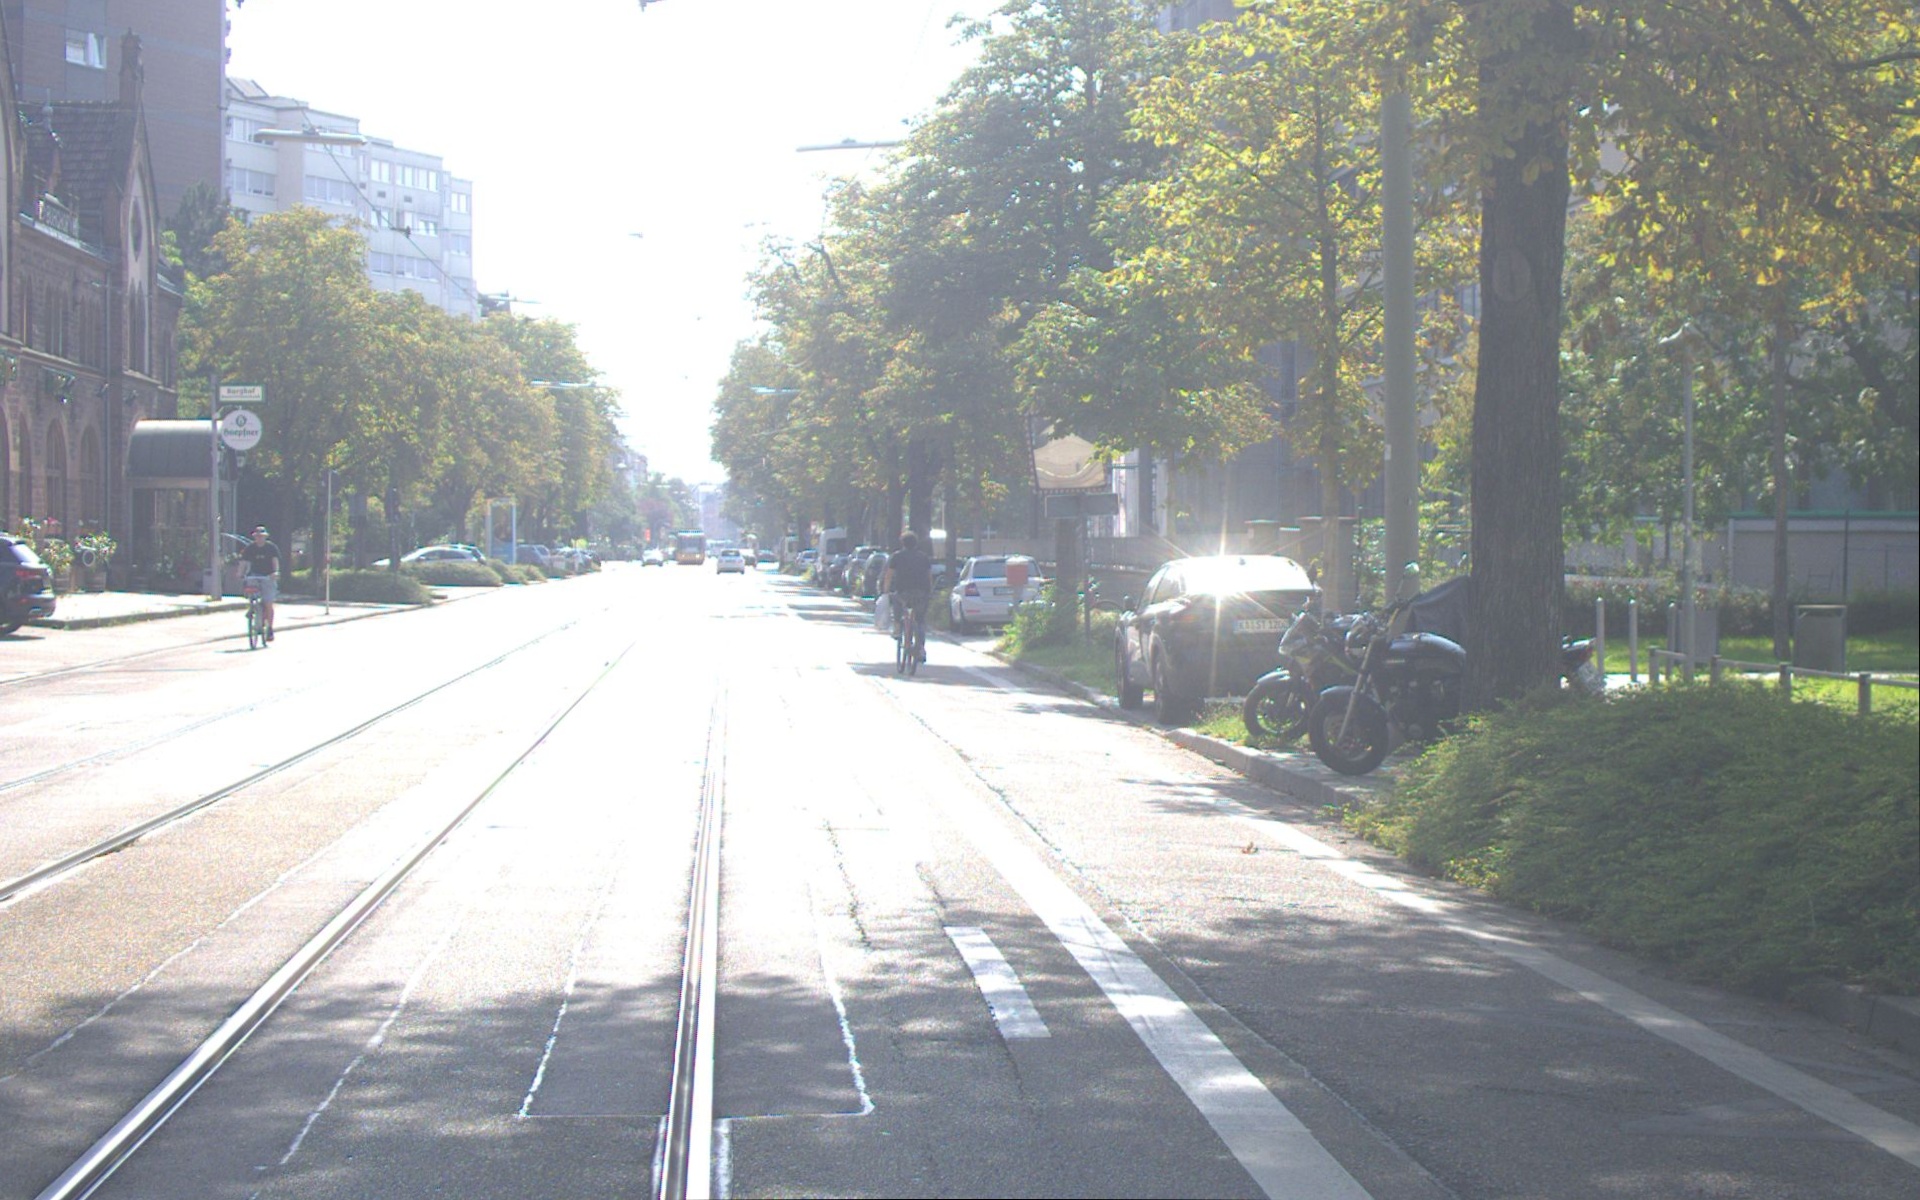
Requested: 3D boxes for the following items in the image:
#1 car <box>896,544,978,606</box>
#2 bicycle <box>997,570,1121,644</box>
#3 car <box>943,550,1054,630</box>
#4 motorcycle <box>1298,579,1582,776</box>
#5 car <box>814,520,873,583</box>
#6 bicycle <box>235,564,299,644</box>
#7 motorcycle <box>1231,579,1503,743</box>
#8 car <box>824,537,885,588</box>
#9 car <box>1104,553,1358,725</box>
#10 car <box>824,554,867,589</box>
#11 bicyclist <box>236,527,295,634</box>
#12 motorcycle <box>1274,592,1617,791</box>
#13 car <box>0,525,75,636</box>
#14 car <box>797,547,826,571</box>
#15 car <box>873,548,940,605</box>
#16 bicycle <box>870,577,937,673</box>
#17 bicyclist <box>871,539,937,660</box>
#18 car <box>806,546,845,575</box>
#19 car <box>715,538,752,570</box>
[{"bbox_3d":[-0.573,-0.624,82.623,1.646,1.423,4.086,-1,1,-5],"label":"car"},{"bbox_3d":[1.485,0.096,51.862,1.768,1.060,0.796,-2,1,-5],"label":"bicycle"},{"bbox_3d":[0.690,-0.207,64.135,1.640,1.425,3.990,-1,1,-5],"label":"car"},{"bbox_3d":[3.397,0.528,24.531,0.842,1.322,2.067,-2,1,-32],"label":"motorcycle"},{"bbox_3d":[-5.046,-2.089,148.401,2.082,2.544,5.502,-3,1,-5],"label":"car"},{"bbox_3d":[-10.528,0.053,52.261,0.697,1.154,2.038,-3,1,-6],"label":"bicycle"},{"bbox_3d":[3.145,0.457,26.585,1.985,1.221,0.645,1,1,22],"label":"motorcycle"},{"bbox_3d":[-3.618,-1.303,117.395,1.753,1.685,4.397,1,1,-6],"label":"car"},{"bbox_3d":[2.569,0.323,33.622,1.740,1.481,4.438,-1,1,-5],"label":"car"},{"bbox_3d":[-4.616,-1.172,138.231,1.616,1.369,4.828,0,1,-3],"label":"car"},{"bbox_3d":[-10.538,-0.307,52.222,0.697,1.575,1.087,-3,1,-6],"label":"bicyclist"},{"bbox_3d":[3.187,0.586,22.665,2.064,1.238,0.843,-1,1,35],"label":"motorcycle"},{"bbox_3d":[-16.236,-0.425,53.596,4.396,1.640,1.957,4,1,-6],"label":"car"},{"bbox_3d":[-8.682,-2.403,200.864,1.689,1.413,3.635,0,1,-3],"label":"car"},{"bbox_3d":[-1.491,-0.659,94.414,1.646,1.506,3.779,-2,1,-3],"label":"car"},{"bbox_3d":[-0.709,0.289,42.447,0.787,1.140,2.305,0,1,-2],"label":"bicycle"},{"bbox_3d":[-0.701,-0.013,42.409,0.787,1.465,1.116,0,1,-2],"label":"bicyclist"},{"bbox_3d":[-6.552,-1.919,167.500,1.753,1.373,4.719,-1,1,-3],"label":"car"},{"bbox_3d":[-13.045,-2.637,198.077,1.993,1.831,4.000,0,1,-2],"label":"car"}]
